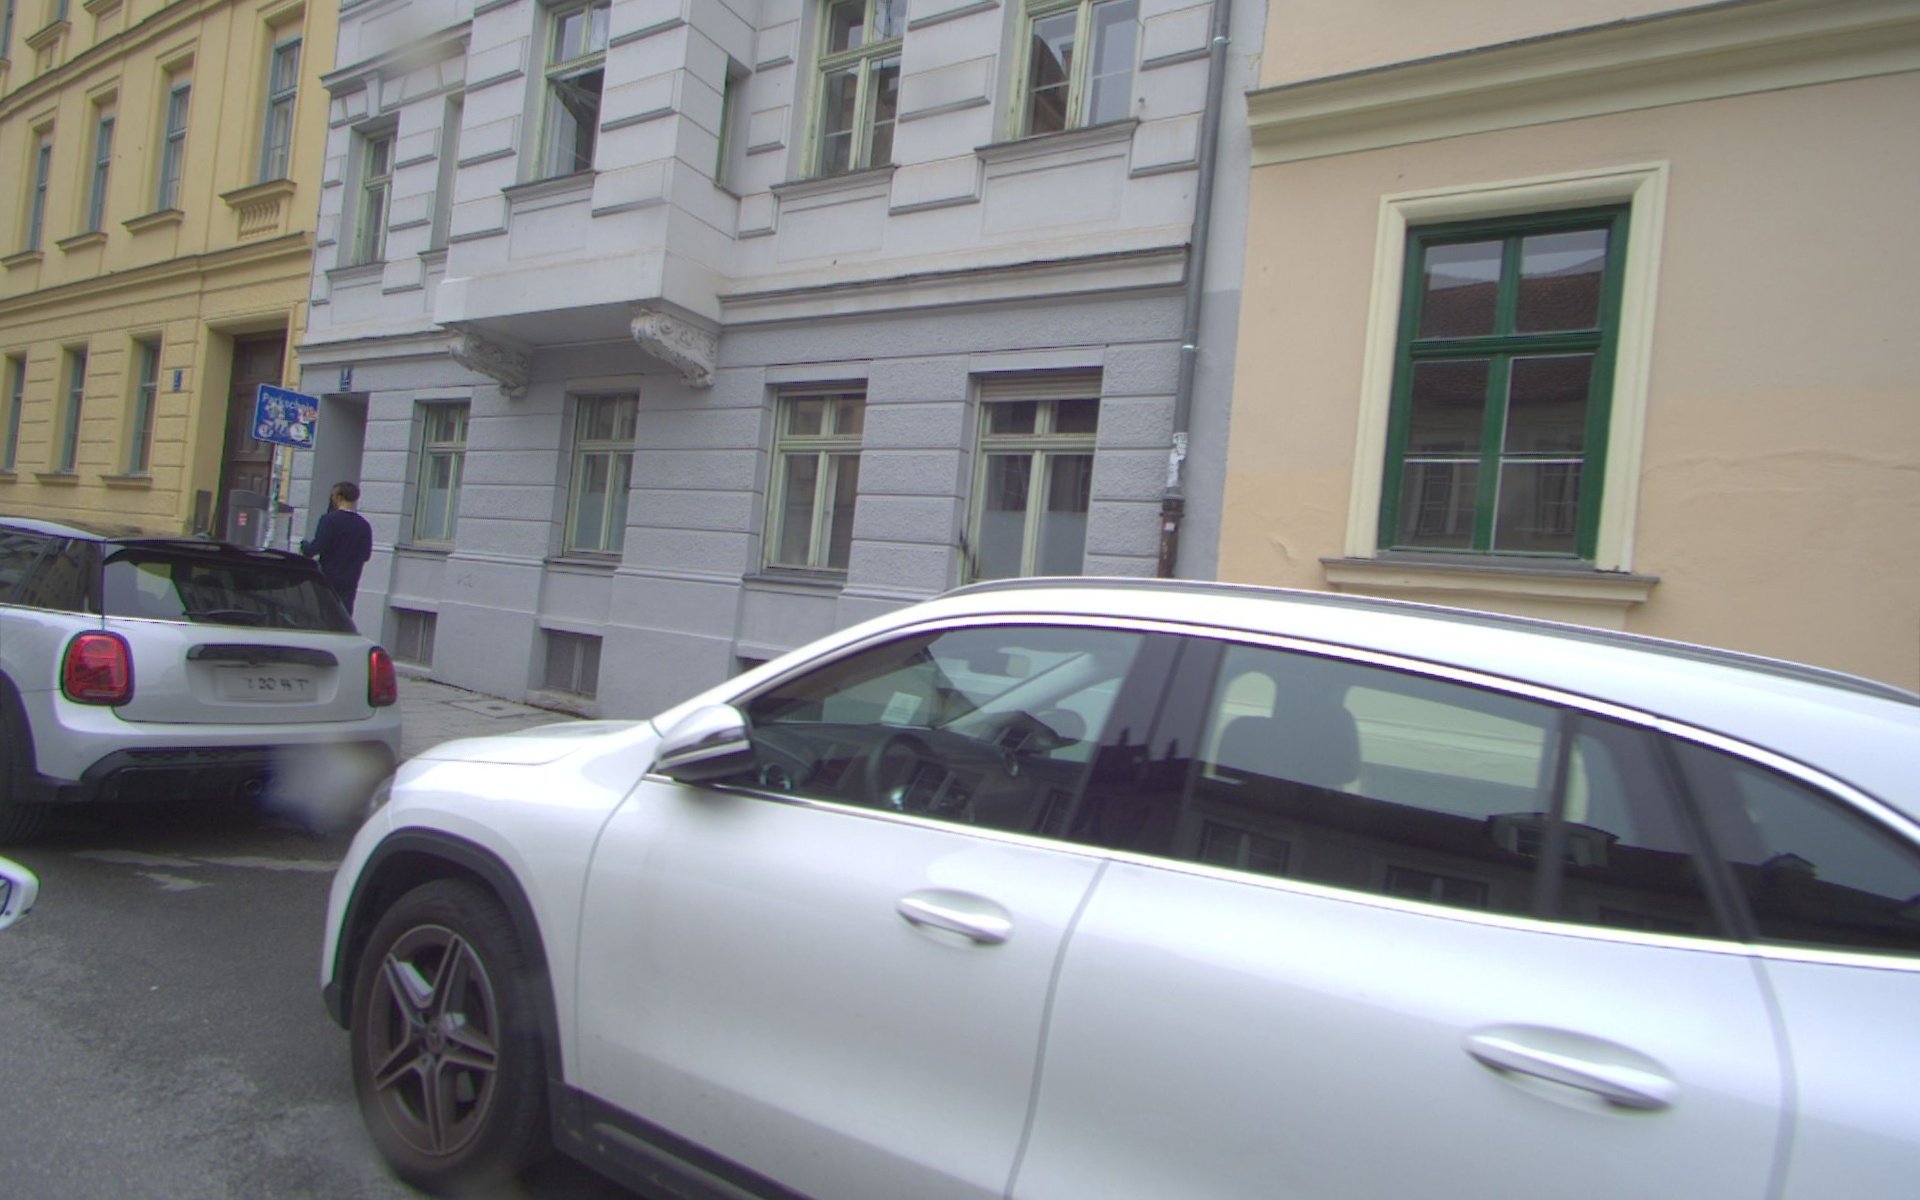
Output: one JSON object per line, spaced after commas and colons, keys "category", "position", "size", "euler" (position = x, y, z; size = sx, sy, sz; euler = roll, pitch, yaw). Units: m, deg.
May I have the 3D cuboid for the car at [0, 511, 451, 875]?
{"category": "car", "position": [-5.046, 0.270, 5.735], "size": [4.136, 1.421, 1.712], "euler": [6, -2, 29]}

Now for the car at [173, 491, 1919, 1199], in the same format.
{"category": "car", "position": [0.081, 0.736, 2.535], "size": [4.393, 1.602, 1.746], "euler": [6, -2, 32]}

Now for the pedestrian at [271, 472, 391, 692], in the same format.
{"category": "pedestrian", "position": [-6.003, -0.175, 9.606], "size": [0.697, 2.007, 0.669], "euler": [5, 2, 32]}

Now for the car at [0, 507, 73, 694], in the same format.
{"category": "car", "position": [-9.607, -0.232, 8.560], "size": [4.735, 1.425, 1.711], "euler": [6, -2, 32]}
